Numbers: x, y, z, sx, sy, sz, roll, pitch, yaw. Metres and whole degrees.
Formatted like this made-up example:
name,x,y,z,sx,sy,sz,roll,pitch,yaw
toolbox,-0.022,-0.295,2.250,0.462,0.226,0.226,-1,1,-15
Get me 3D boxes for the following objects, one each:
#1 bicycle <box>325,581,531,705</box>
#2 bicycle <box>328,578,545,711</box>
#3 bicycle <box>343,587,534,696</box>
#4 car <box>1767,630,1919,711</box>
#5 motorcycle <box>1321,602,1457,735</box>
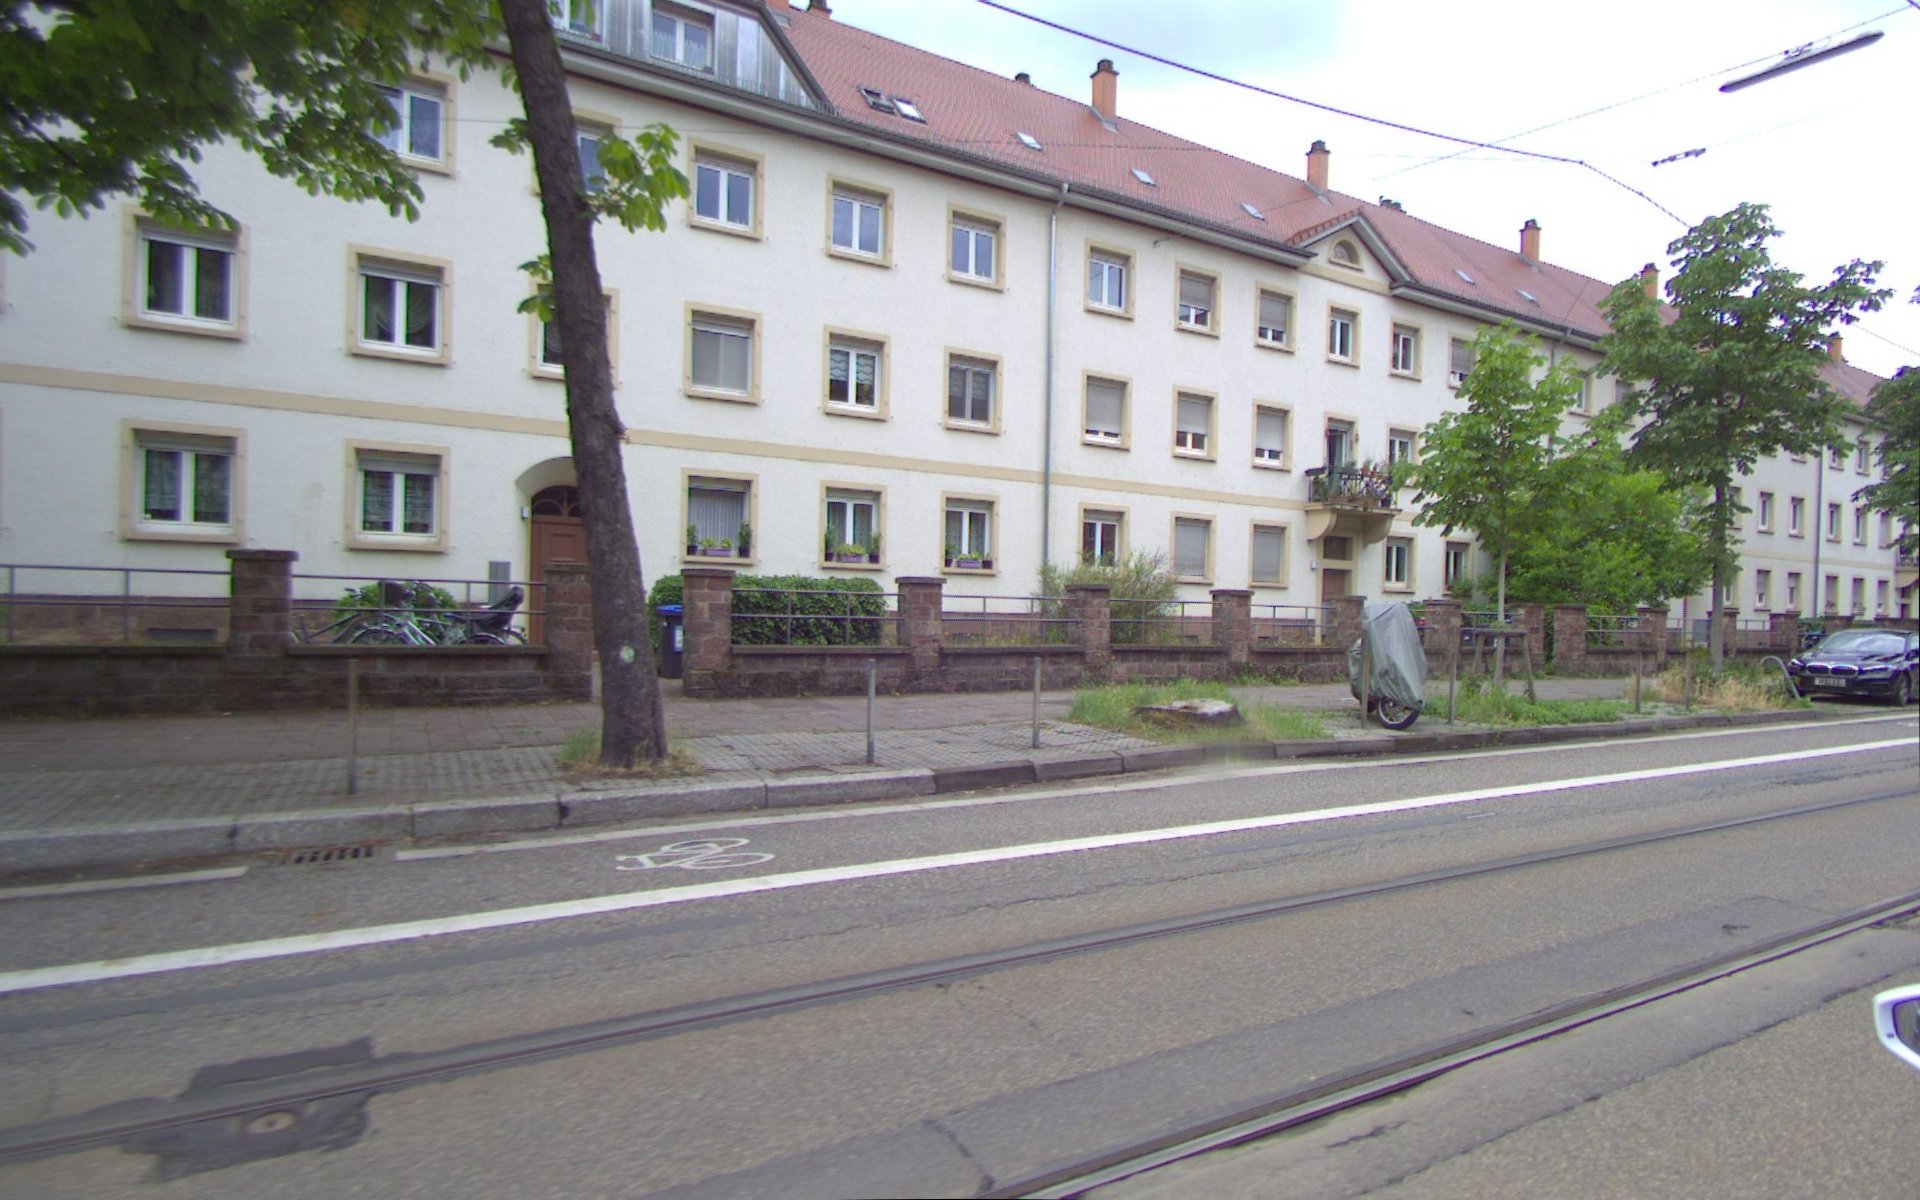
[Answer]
name,x,y,z,sx,sy,sz,roll,pitch,yaw
bicycle,-6.360,0.505,12.096,2.115,1.400,0.625,1,0,-30
bicycle,-5.930,0.484,11.465,2.115,1.400,0.789,1,0,-30
bicycle,-6.710,0.519,12.986,2.117,1.315,0.744,1,0,-32
car,18.634,1.371,20.490,4.363,1.417,1.882,1,0,-29
motorcycle,5.498,0.820,13.065,0.908,1.531,2.273,3,0,5
